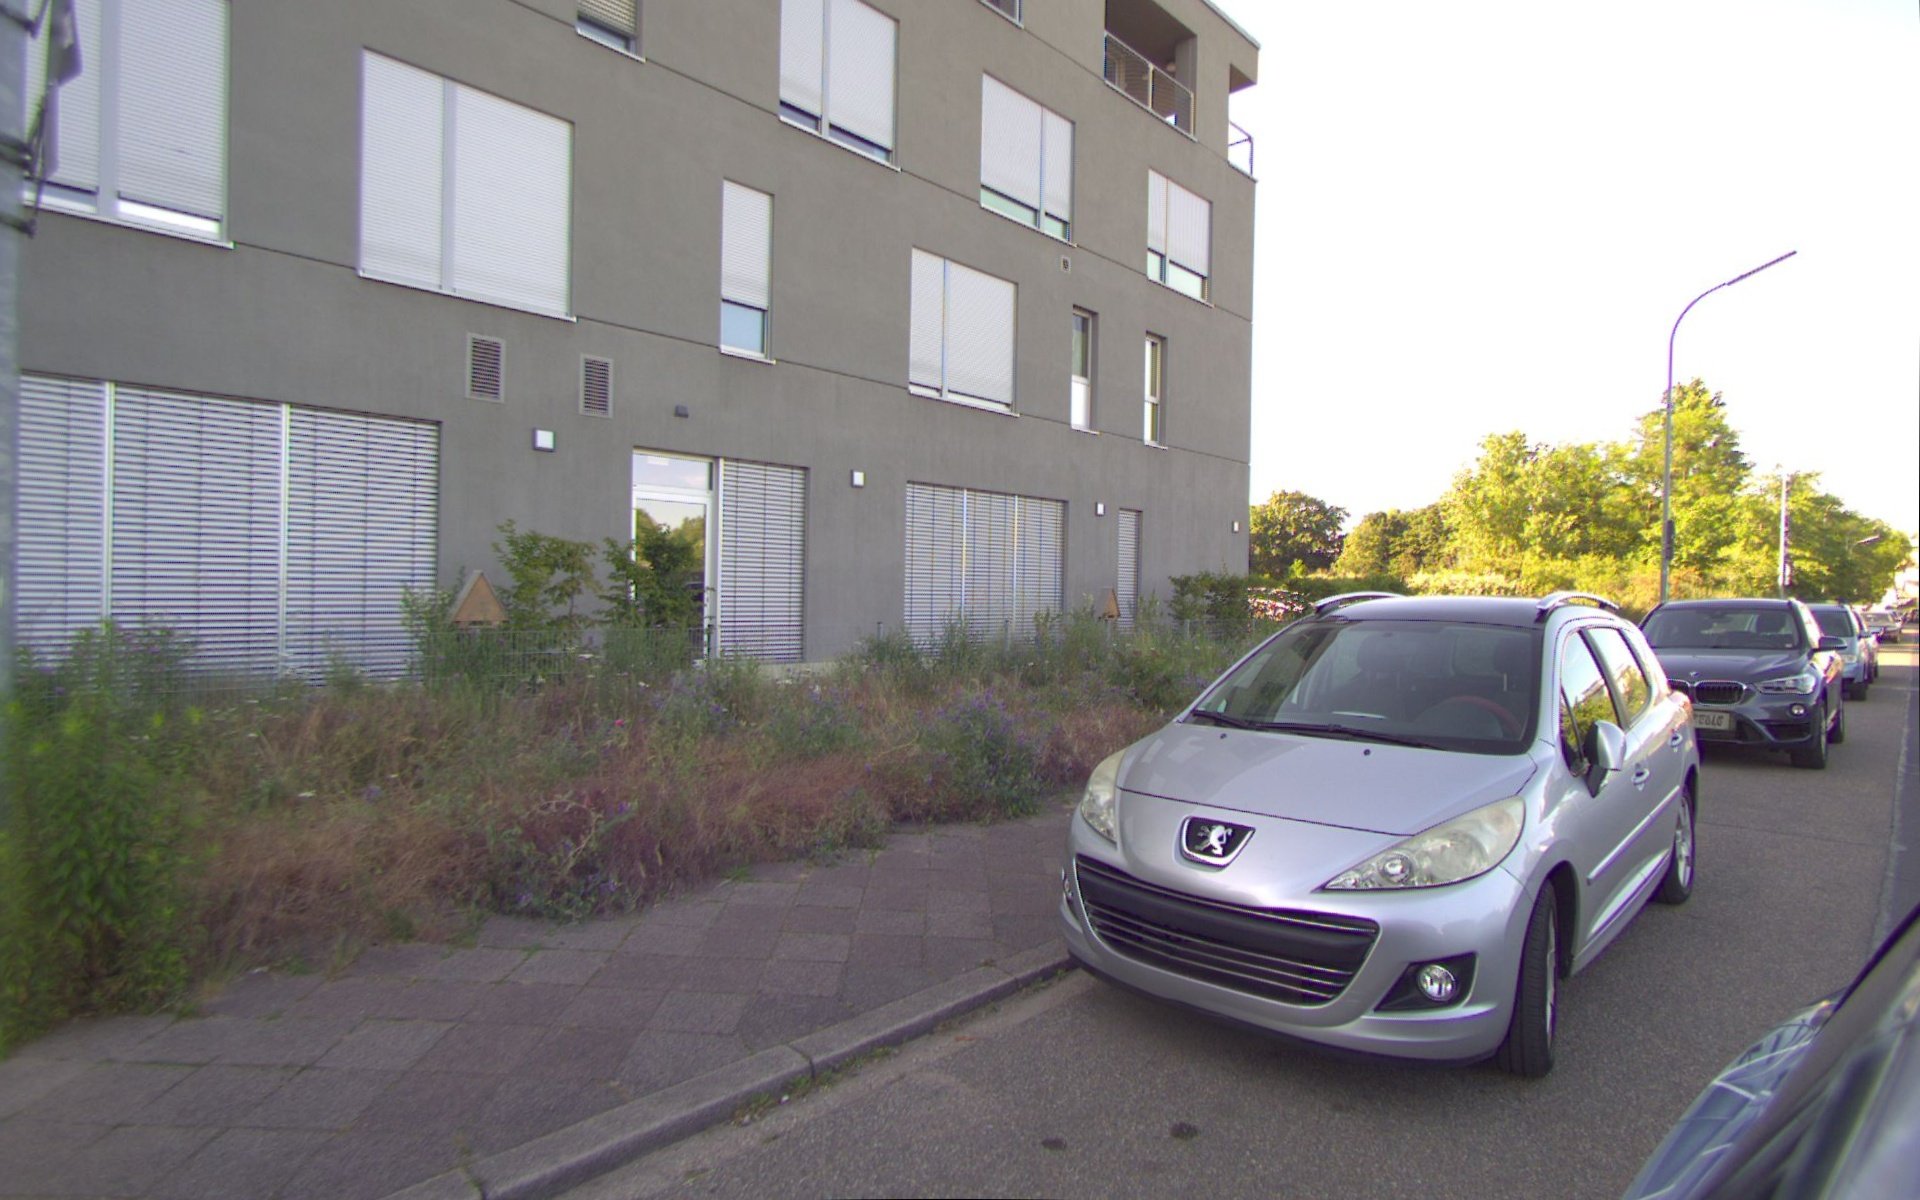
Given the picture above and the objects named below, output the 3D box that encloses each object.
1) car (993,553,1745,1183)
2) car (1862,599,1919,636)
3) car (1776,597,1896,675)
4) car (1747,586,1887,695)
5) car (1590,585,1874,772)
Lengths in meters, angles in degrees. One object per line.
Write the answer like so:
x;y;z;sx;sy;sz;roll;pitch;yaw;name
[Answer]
2.153;0.660;4.556;1.707;1.546;4.088;0;0;45;car
43.125;0.761;46.780;1.870;1.545;4.088;3;2;45;car
18.782;0.733;21.672;1.707;1.546;3.043;-2;-1;45;car
15.494;0.671;18.226;1.706;1.727;4.282;-2;-2;43;car
8.447;0.677;10.892;4.724;1.587;1.746;0;-1;-44;car
